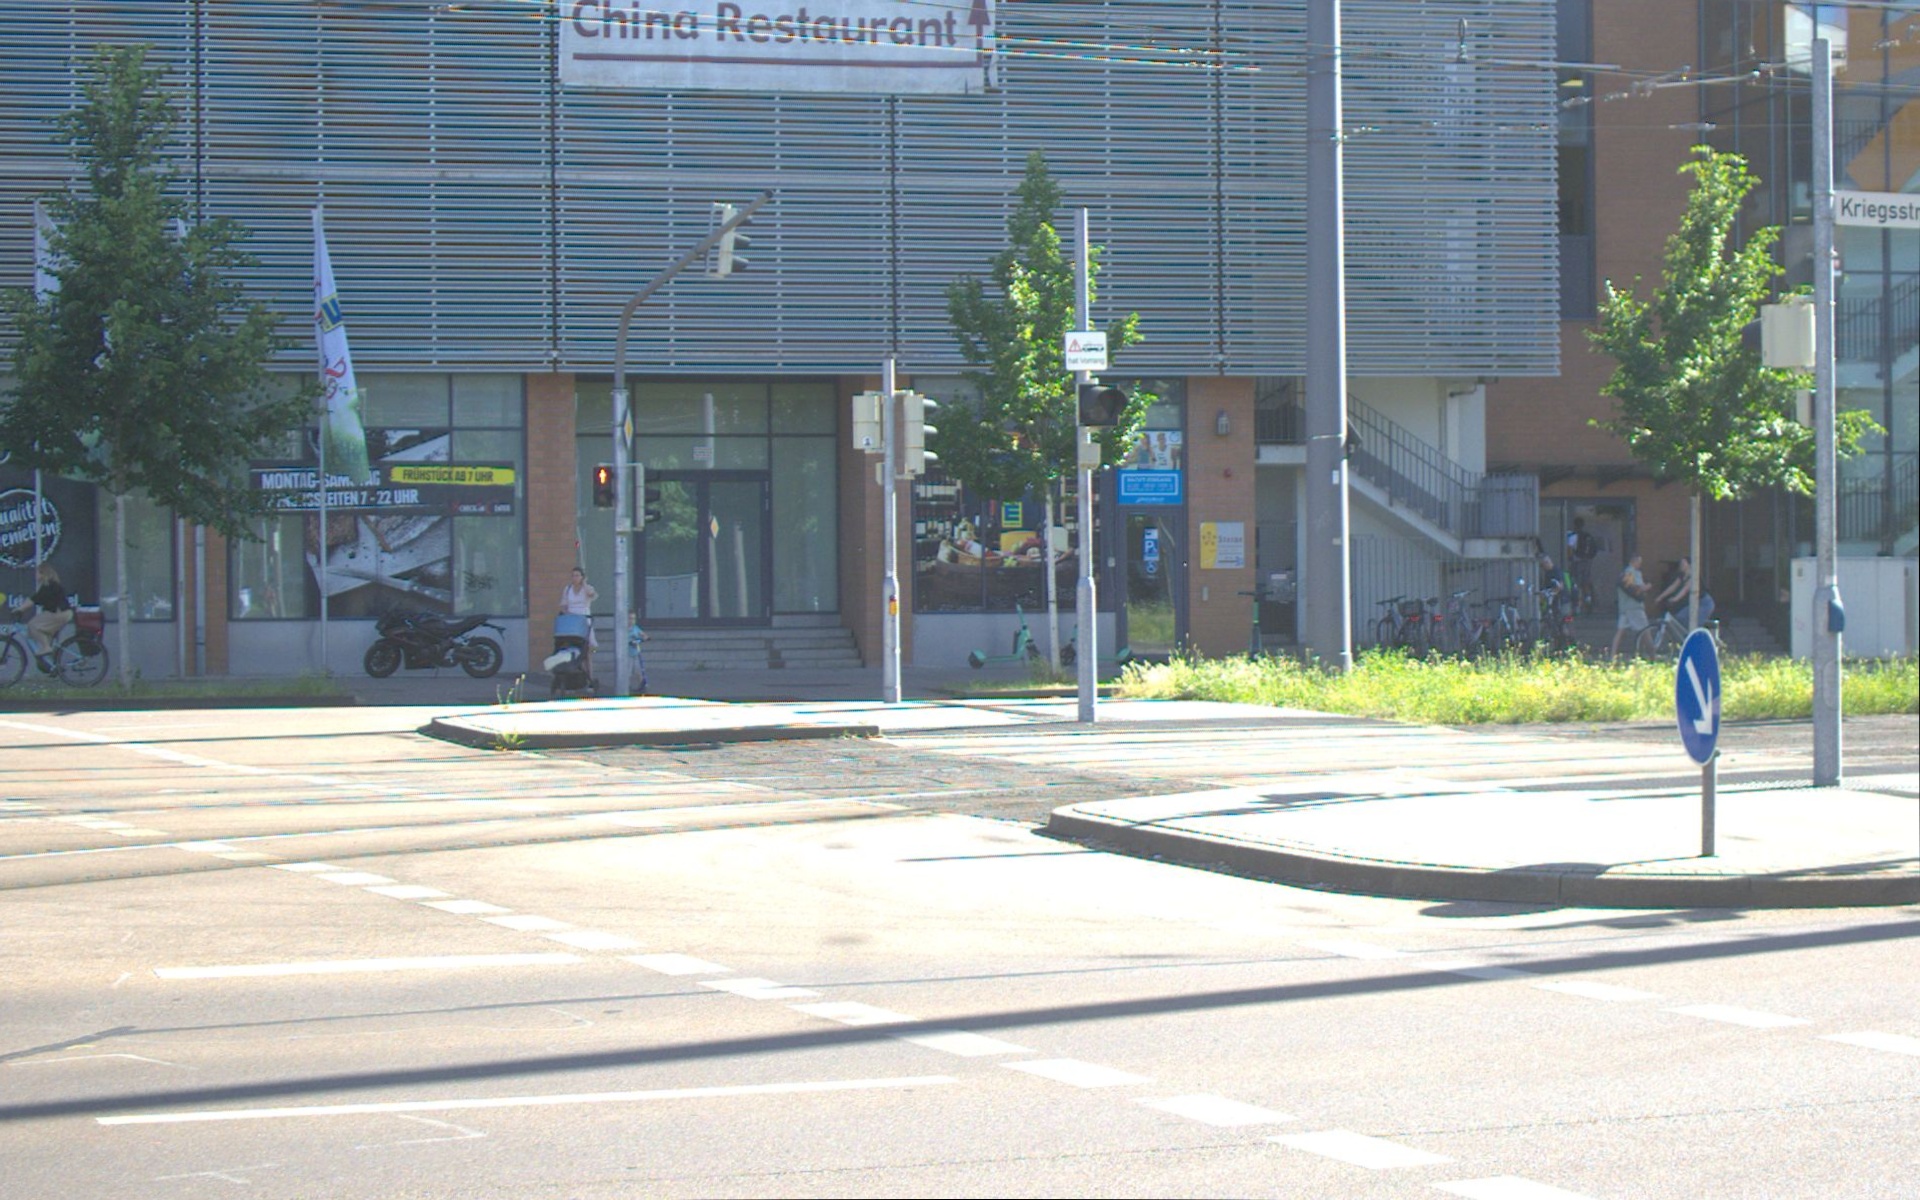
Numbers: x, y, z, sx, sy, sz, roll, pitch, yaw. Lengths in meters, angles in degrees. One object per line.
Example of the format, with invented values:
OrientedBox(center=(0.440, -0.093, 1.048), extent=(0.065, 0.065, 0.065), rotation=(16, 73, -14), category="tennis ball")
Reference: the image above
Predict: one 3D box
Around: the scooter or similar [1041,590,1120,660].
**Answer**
OrientedBox(center=(1.914, 0.399, 54.664), extent=(1.201, 1.099, 0.277), rotation=(1, 0, -12), category="scooter or similar")

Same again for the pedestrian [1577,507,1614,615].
OrientedBox(center=(11.377, -0.698, 61.587), extent=(0.539, 1.908, 0.374), rotation=(1, 0, -6), category="pedestrian")

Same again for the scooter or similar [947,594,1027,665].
OrientedBox(center=(0.429, 0.465, 54.114), extent=(1.201, 1.099, 0.277), rotation=(1, 0, -12), category="scooter or similar")

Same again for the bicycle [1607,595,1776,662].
OrientedBox(center=(11.420, 0.438, 53.651), extent=(2.559, 1.007, 0.598), rotation=(0, 0, -13), category="bicycle")

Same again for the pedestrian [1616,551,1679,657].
OrientedBox(center=(10.975, 0.054, 54.862), extent=(0.776, 1.679, 0.597), rotation=(0, 0, -28), category="pedestrian")

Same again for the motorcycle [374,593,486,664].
OrientedBox(center=(-7.851, 0.418, 50.917), extent=(1.613, 1.035, 0.402), rotation=(0, 0, -13), category="motorcycle")

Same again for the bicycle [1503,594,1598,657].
OrientedBox(center=(9.505, 0.403, 55.386), extent=(0.491, 0.951, 2.181), rotation=(0, 1, -20), category="bicycle")

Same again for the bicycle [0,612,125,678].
OrientedBox(center=(-12.499, 0.613, 47.118), extent=(2.041, 0.864, 0.682), rotation=(0, 0, -15), category="bicycle")

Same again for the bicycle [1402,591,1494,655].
OrientedBox(center=(7.837, 0.361, 55.280), extent=(0.491, 0.951, 2.181), rotation=(0, 1, -20), category="bicycle")

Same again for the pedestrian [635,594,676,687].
OrientedBox(center=(-4.033, 0.531, 45.580), extent=(0.447, 1.225, 0.397), rotation=(0, 0, 11), category="pedestrian")

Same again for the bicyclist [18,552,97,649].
OrientedBox(center=(-12.377, -0.003, 47.138), extent=(1.036, 1.314, 0.682), rotation=(0, 0, -15), category="bicyclist")

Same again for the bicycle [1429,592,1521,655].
OrientedBox(center=(8.320, 0.374, 55.624), extent=(0.491, 0.951, 2.181), rotation=(0, 1, -20), category="bicycle")

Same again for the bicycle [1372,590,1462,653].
OrientedBox(center=(7.307, 0.333, 55.067), extent=(0.491, 0.951, 2.181), rotation=(0, 1, -20), category="bicycle")

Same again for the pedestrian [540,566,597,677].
OrientedBox(center=(-5.254, 0.287, 46.147), extent=(0.738, 1.482, 0.490), rotation=(0, 0, -4), category="pedestrian")

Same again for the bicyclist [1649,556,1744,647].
OrientedBox(center=(11.493, 0.013, 53.649), extent=(1.308, 1.403, 0.594), rotation=(0, 0, -13), category="bicyclist")
